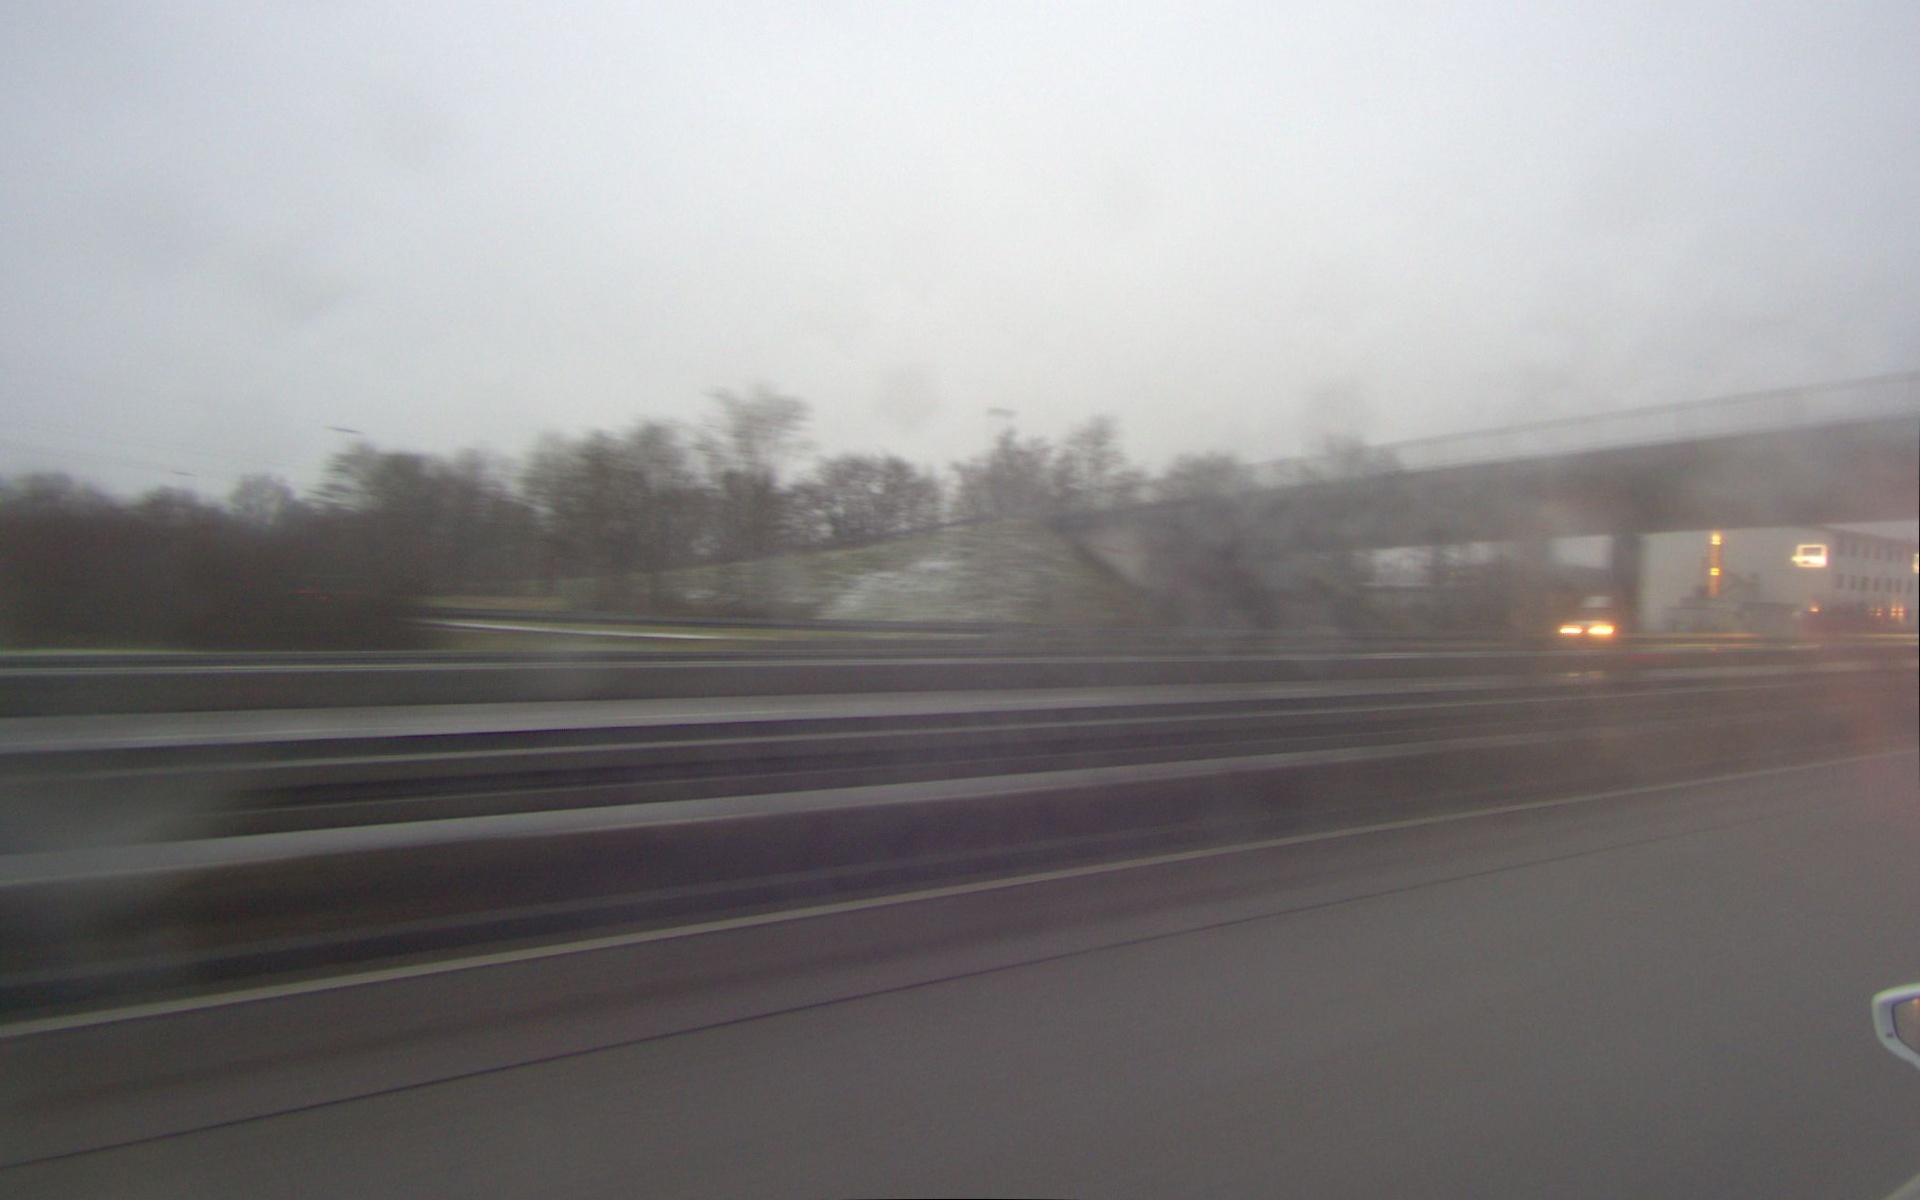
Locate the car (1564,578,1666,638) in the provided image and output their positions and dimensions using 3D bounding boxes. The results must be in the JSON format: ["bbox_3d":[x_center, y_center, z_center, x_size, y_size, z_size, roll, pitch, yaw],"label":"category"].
[{"bbox_3d":[32.567,0.397,49.965,4.518,2.810,2.182,1,2,-27],"label":"car"}]
